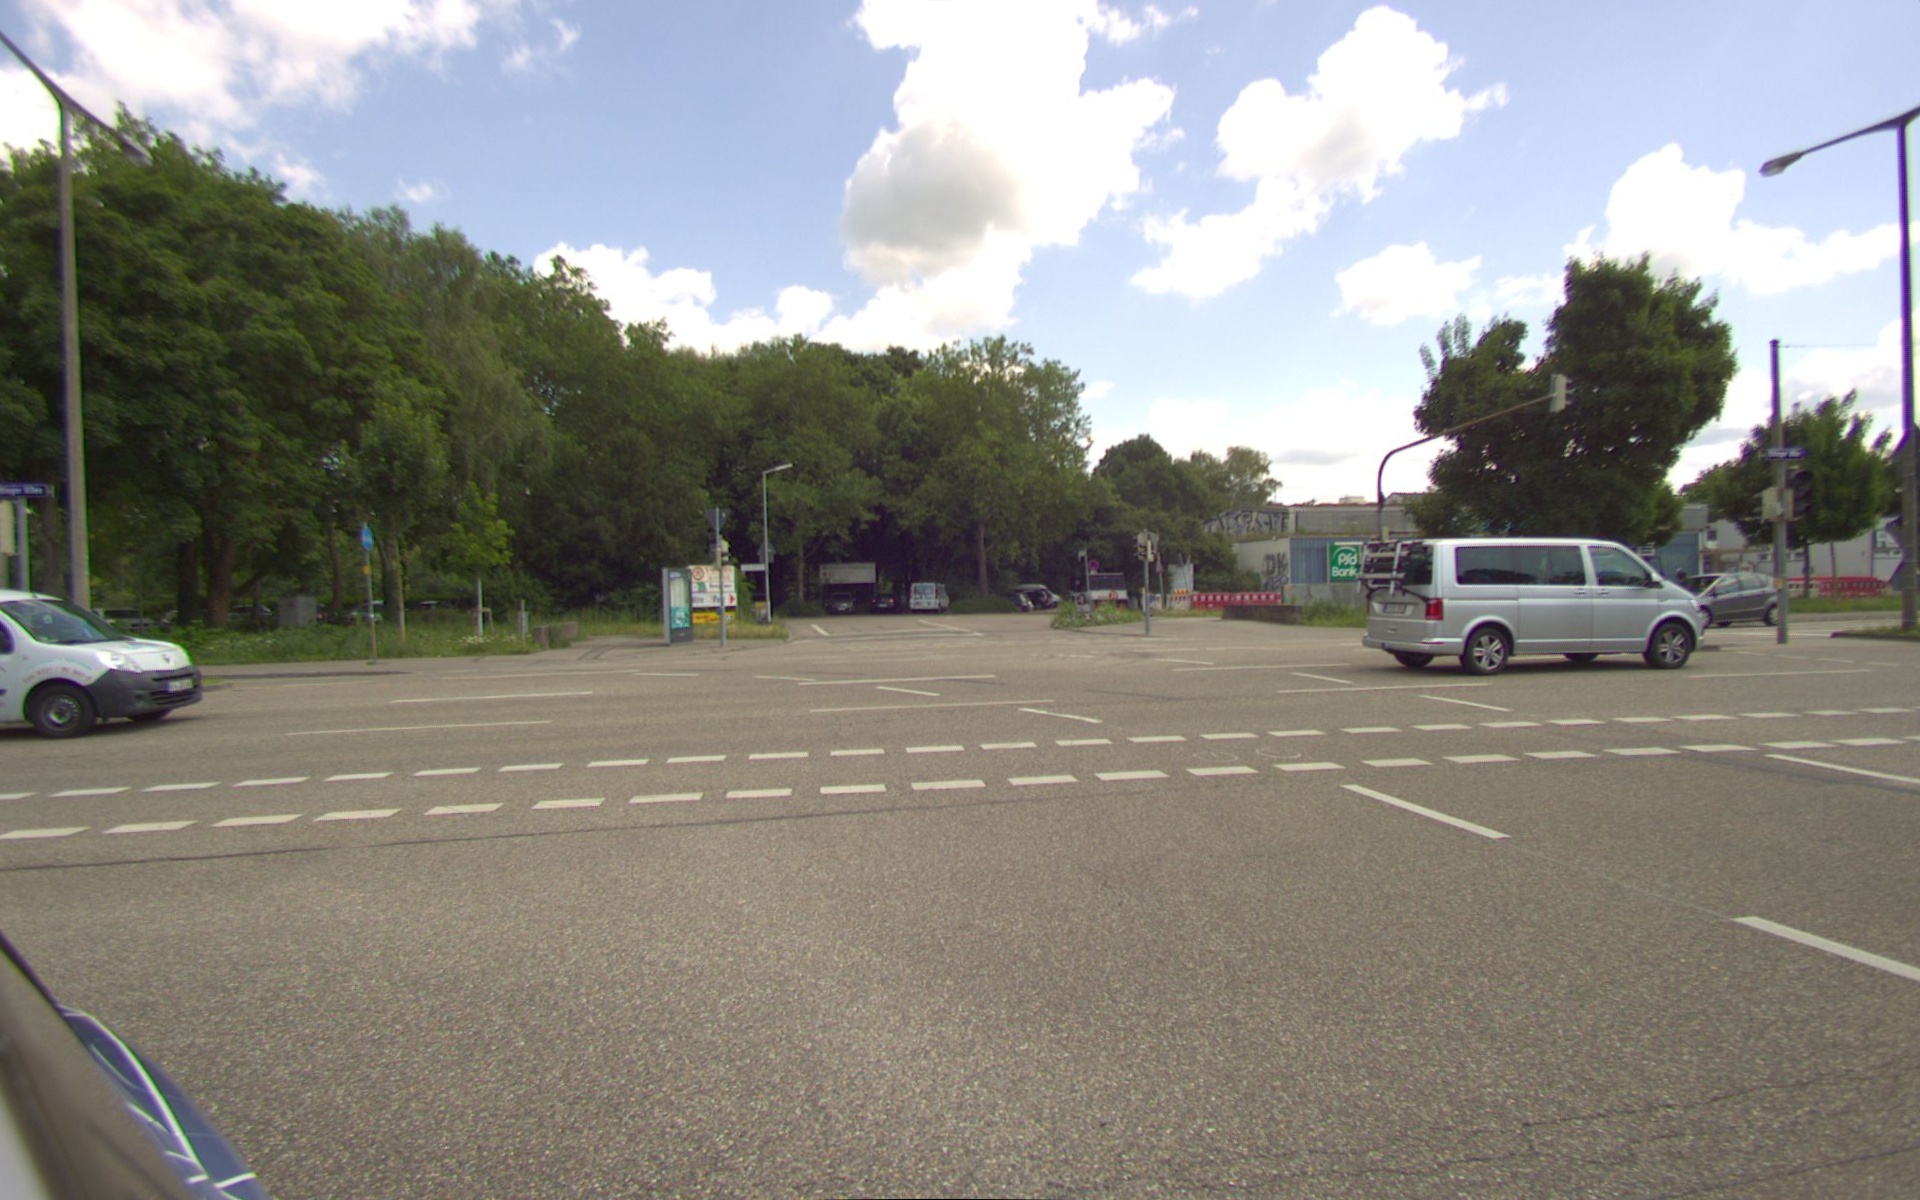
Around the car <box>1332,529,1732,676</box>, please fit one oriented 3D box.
[{"bbox_3d":[8.455,0.008,15.121,5.148,1.933,1.823,-1,0,-10],"label":"car"}]

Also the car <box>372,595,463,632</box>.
[{"bbox_3d":[-27.018,0.642,50.590,2.018,1.738,4.577,-2,0,0],"label":"car"}]

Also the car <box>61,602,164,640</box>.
[{"bbox_3d":[-37.303,0.929,44.530,4.000,1.557,1.983,-1,0,26],"label":"car"}]

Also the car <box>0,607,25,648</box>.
[{"bbox_3d":[-39.281,1.136,40.058,4.000,1.599,1.983,-1,0,26],"label":"car"}]

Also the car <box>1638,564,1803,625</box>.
[{"bbox_3d":[21.954,-0.163,29.277,3.710,1.606,1.796,-2,0,-12],"label":"car"}]

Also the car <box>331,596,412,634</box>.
[{"bbox_3d":[-29.307,0.715,50.537,1.792,1.722,4.130,-1,0,-3],"label":"car"}]

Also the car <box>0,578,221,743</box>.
[{"bbox_3d":[-11.512,0.685,11.979,4.089,1.798,1.752,-1,1,-9],"label":"car"}]

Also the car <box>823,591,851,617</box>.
[{"bbox_3d":[-7.973,0.219,65.490,1.593,1.519,3.628,-1,2,-10],"label":"car"}]

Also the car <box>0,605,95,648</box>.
[{"bbox_3d":[-38.434,1.110,42.323,4.000,1.599,1.983,-3,0,26],"label":"car"}]

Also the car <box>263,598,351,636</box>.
[{"bbox_3d":[-31.978,0.782,49.727,1.792,1.740,4.130,-1,0,-3],"label":"car"}]

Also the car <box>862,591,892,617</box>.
[{"bbox_3d":[-5.415,0.235,65.879,1.593,1.519,3.628,-1,2,-10],"label":"car"}]

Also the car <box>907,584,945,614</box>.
[{"bbox_3d":[-2.171,-0.074,65.609,1.914,1.806,3.613,-1,1,6],"label":"car"}]
